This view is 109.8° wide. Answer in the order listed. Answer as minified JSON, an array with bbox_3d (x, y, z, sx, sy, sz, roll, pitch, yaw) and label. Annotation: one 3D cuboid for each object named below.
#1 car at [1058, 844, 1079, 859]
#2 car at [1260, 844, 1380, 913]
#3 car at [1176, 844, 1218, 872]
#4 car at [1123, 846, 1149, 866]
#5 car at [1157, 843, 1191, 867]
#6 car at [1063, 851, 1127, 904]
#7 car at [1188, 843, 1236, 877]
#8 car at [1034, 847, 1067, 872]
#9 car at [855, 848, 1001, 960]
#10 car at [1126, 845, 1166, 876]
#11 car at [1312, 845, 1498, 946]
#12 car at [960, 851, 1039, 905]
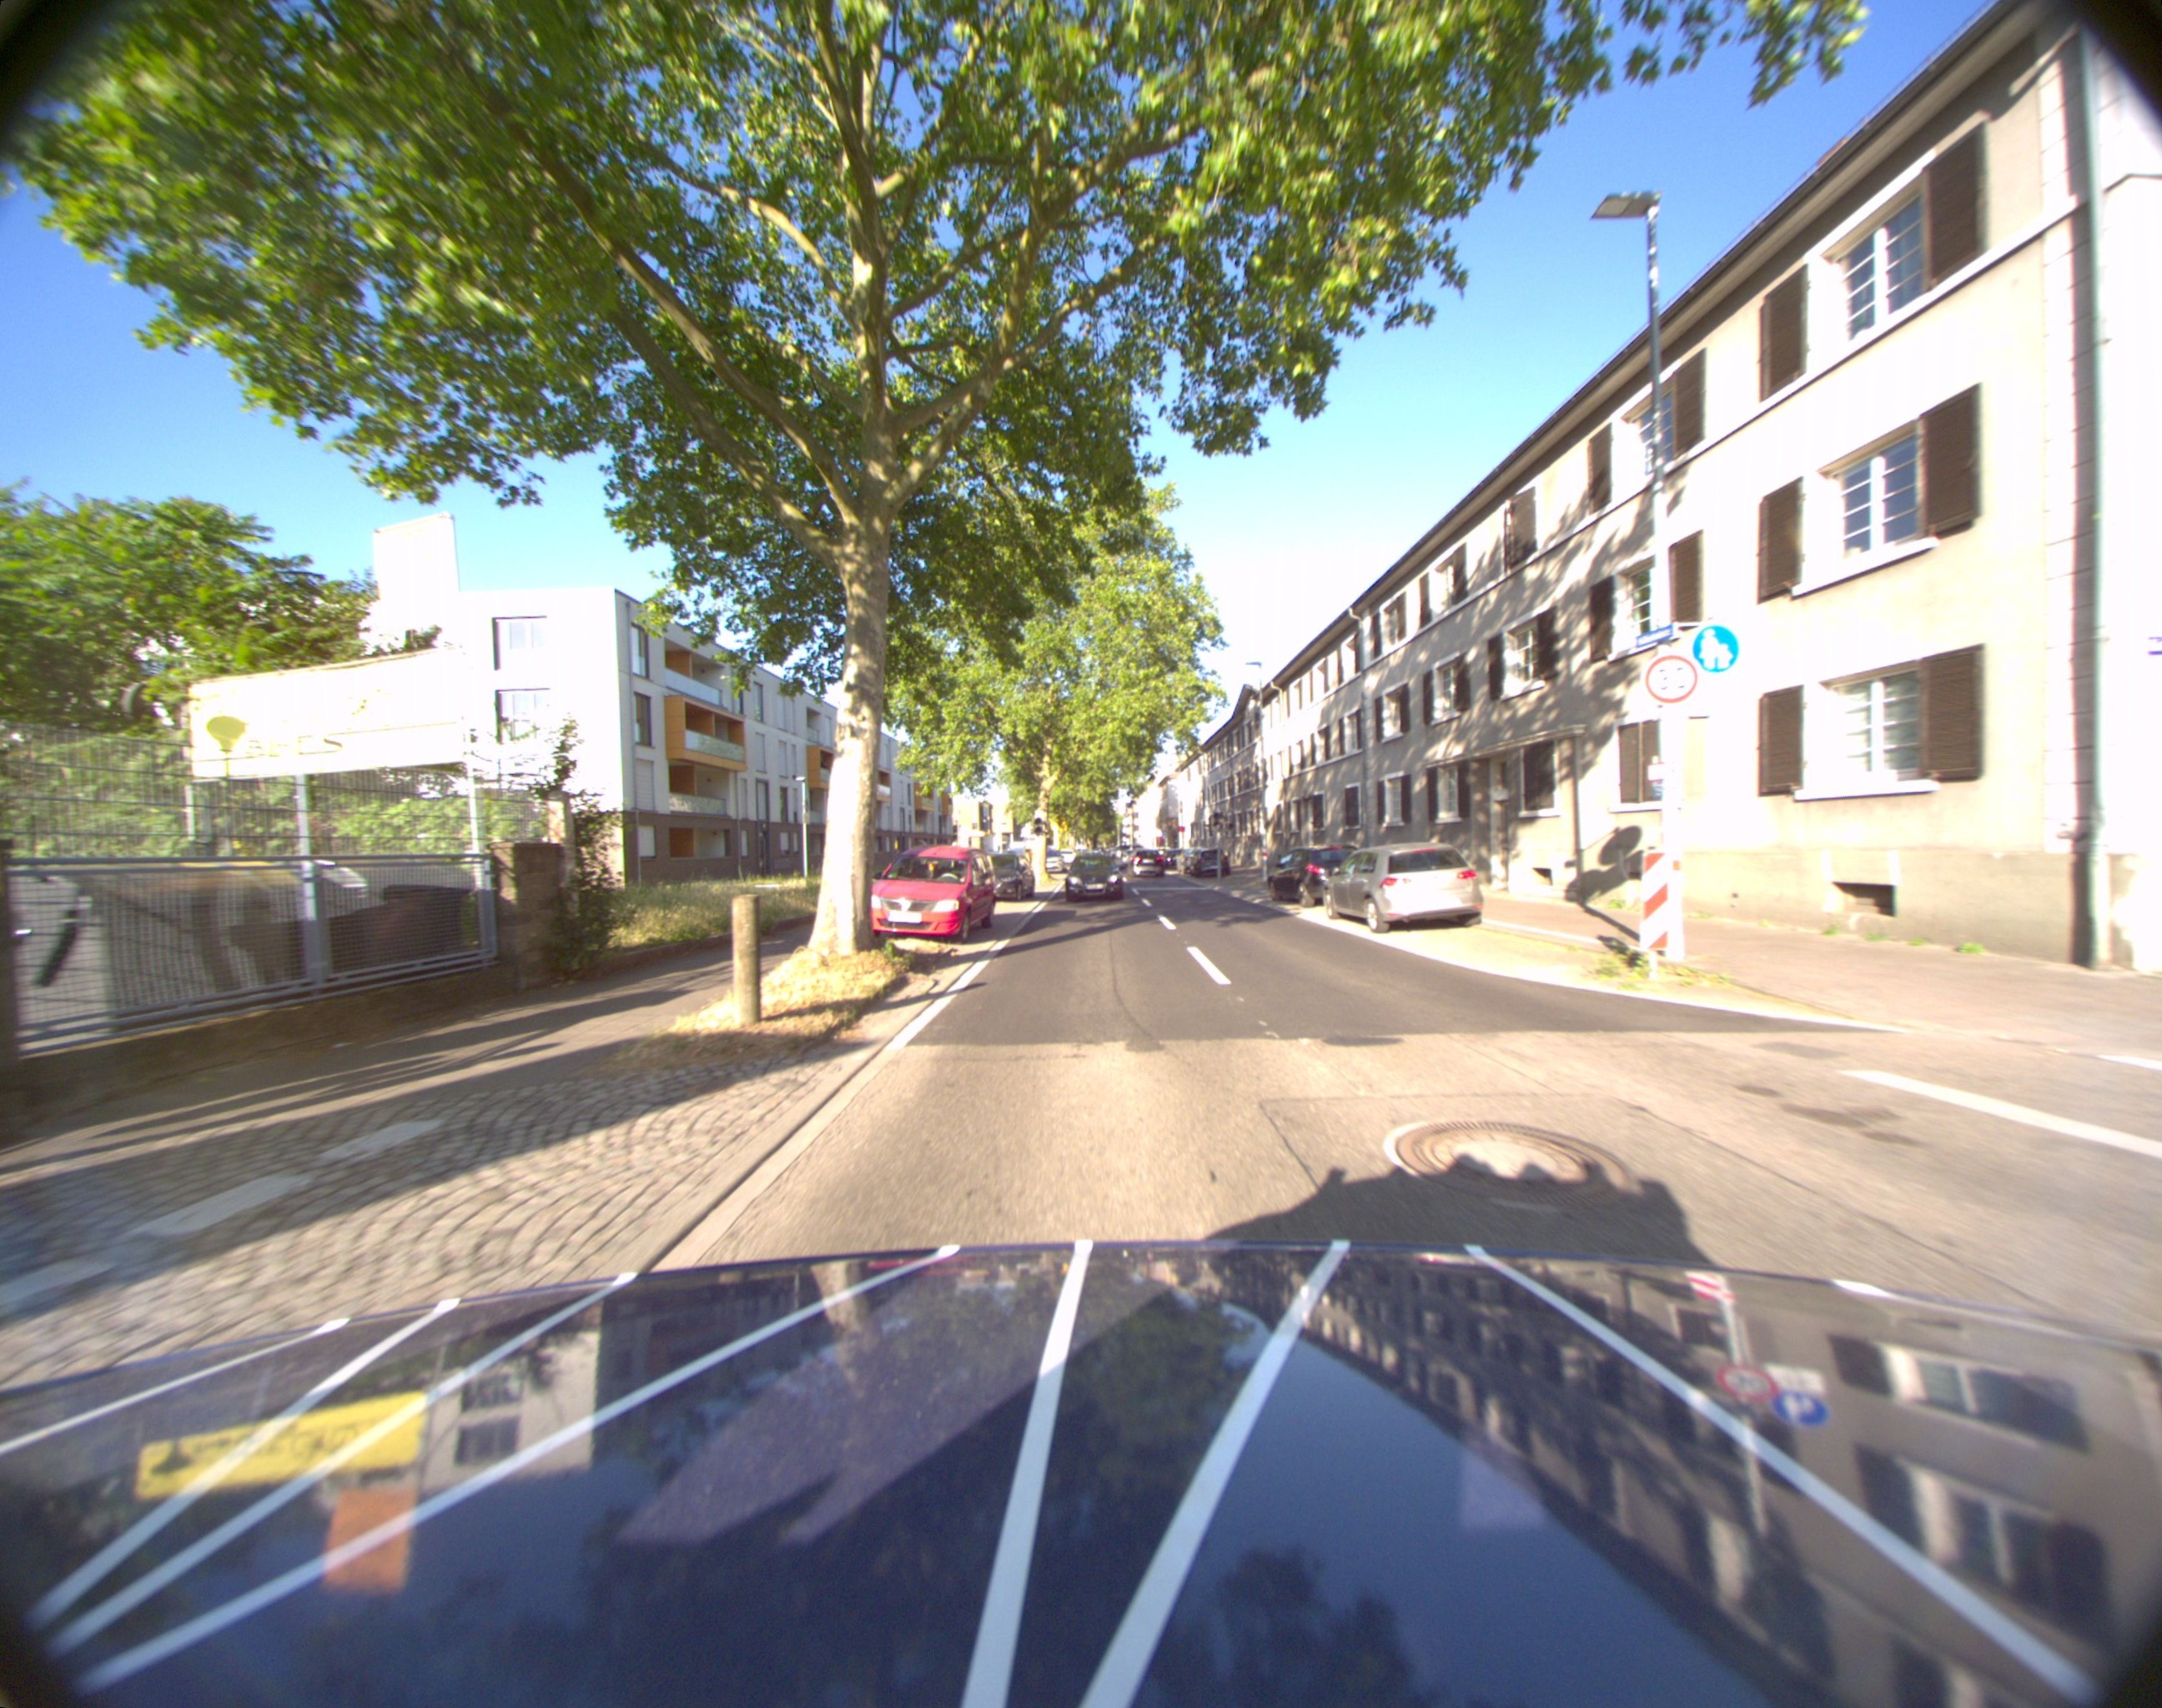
[{"bbox_3d":[-1.275,-0.265,78.417,1.885,1.475,4.000,-2,1,1],"label":"car"},{"bbox_3d":[6.011,0.547,19.612,1.711,1.498,4.052,-4,1,0],"label":"car"},{"bbox_3d":[6.839,0.188,45.193,1.870,1.475,4.086,-4,1,0],"label":"car"},{"bbox_3d":[4.442,0.136,61.983,1.870,1.475,4.086,-1,1,0],"label":"car"},{"bbox_3d":[6.643,0.024,54.804,1.870,1.603,4.085,-3,1,-1],"label":"car"},{"bbox_3d":[0.386,0.694,24.569,1.870,1.472,4.085,-2,1,-1],"label":"car"},{"bbox_3d":[6.656,0.270,38.991,1.869,1.475,4.087,-5,1,3],"label":"car"},{"bbox_3d":[-1.964,0.337,50.443,1.869,1.603,4.086,0,1,2],"label":"car"},{"bbox_3d":[-2.605,0.764,13.928,1.602,1.680,4.336,-1,1,2],"label":"car"},{"bbox_3d":[3.543,0.332,41.980,1.901,1.581,4.069,-1,1,0],"label":"car"},{"bbox_3d":[5.715,0.627,13.997,1.765,1.475,4.108,-4,1,3],"label":"car"},{"bbox_3d":[-2.478,0.696,24.273,1.704,1.472,4.697,1,1,4],"label":"car"}]
